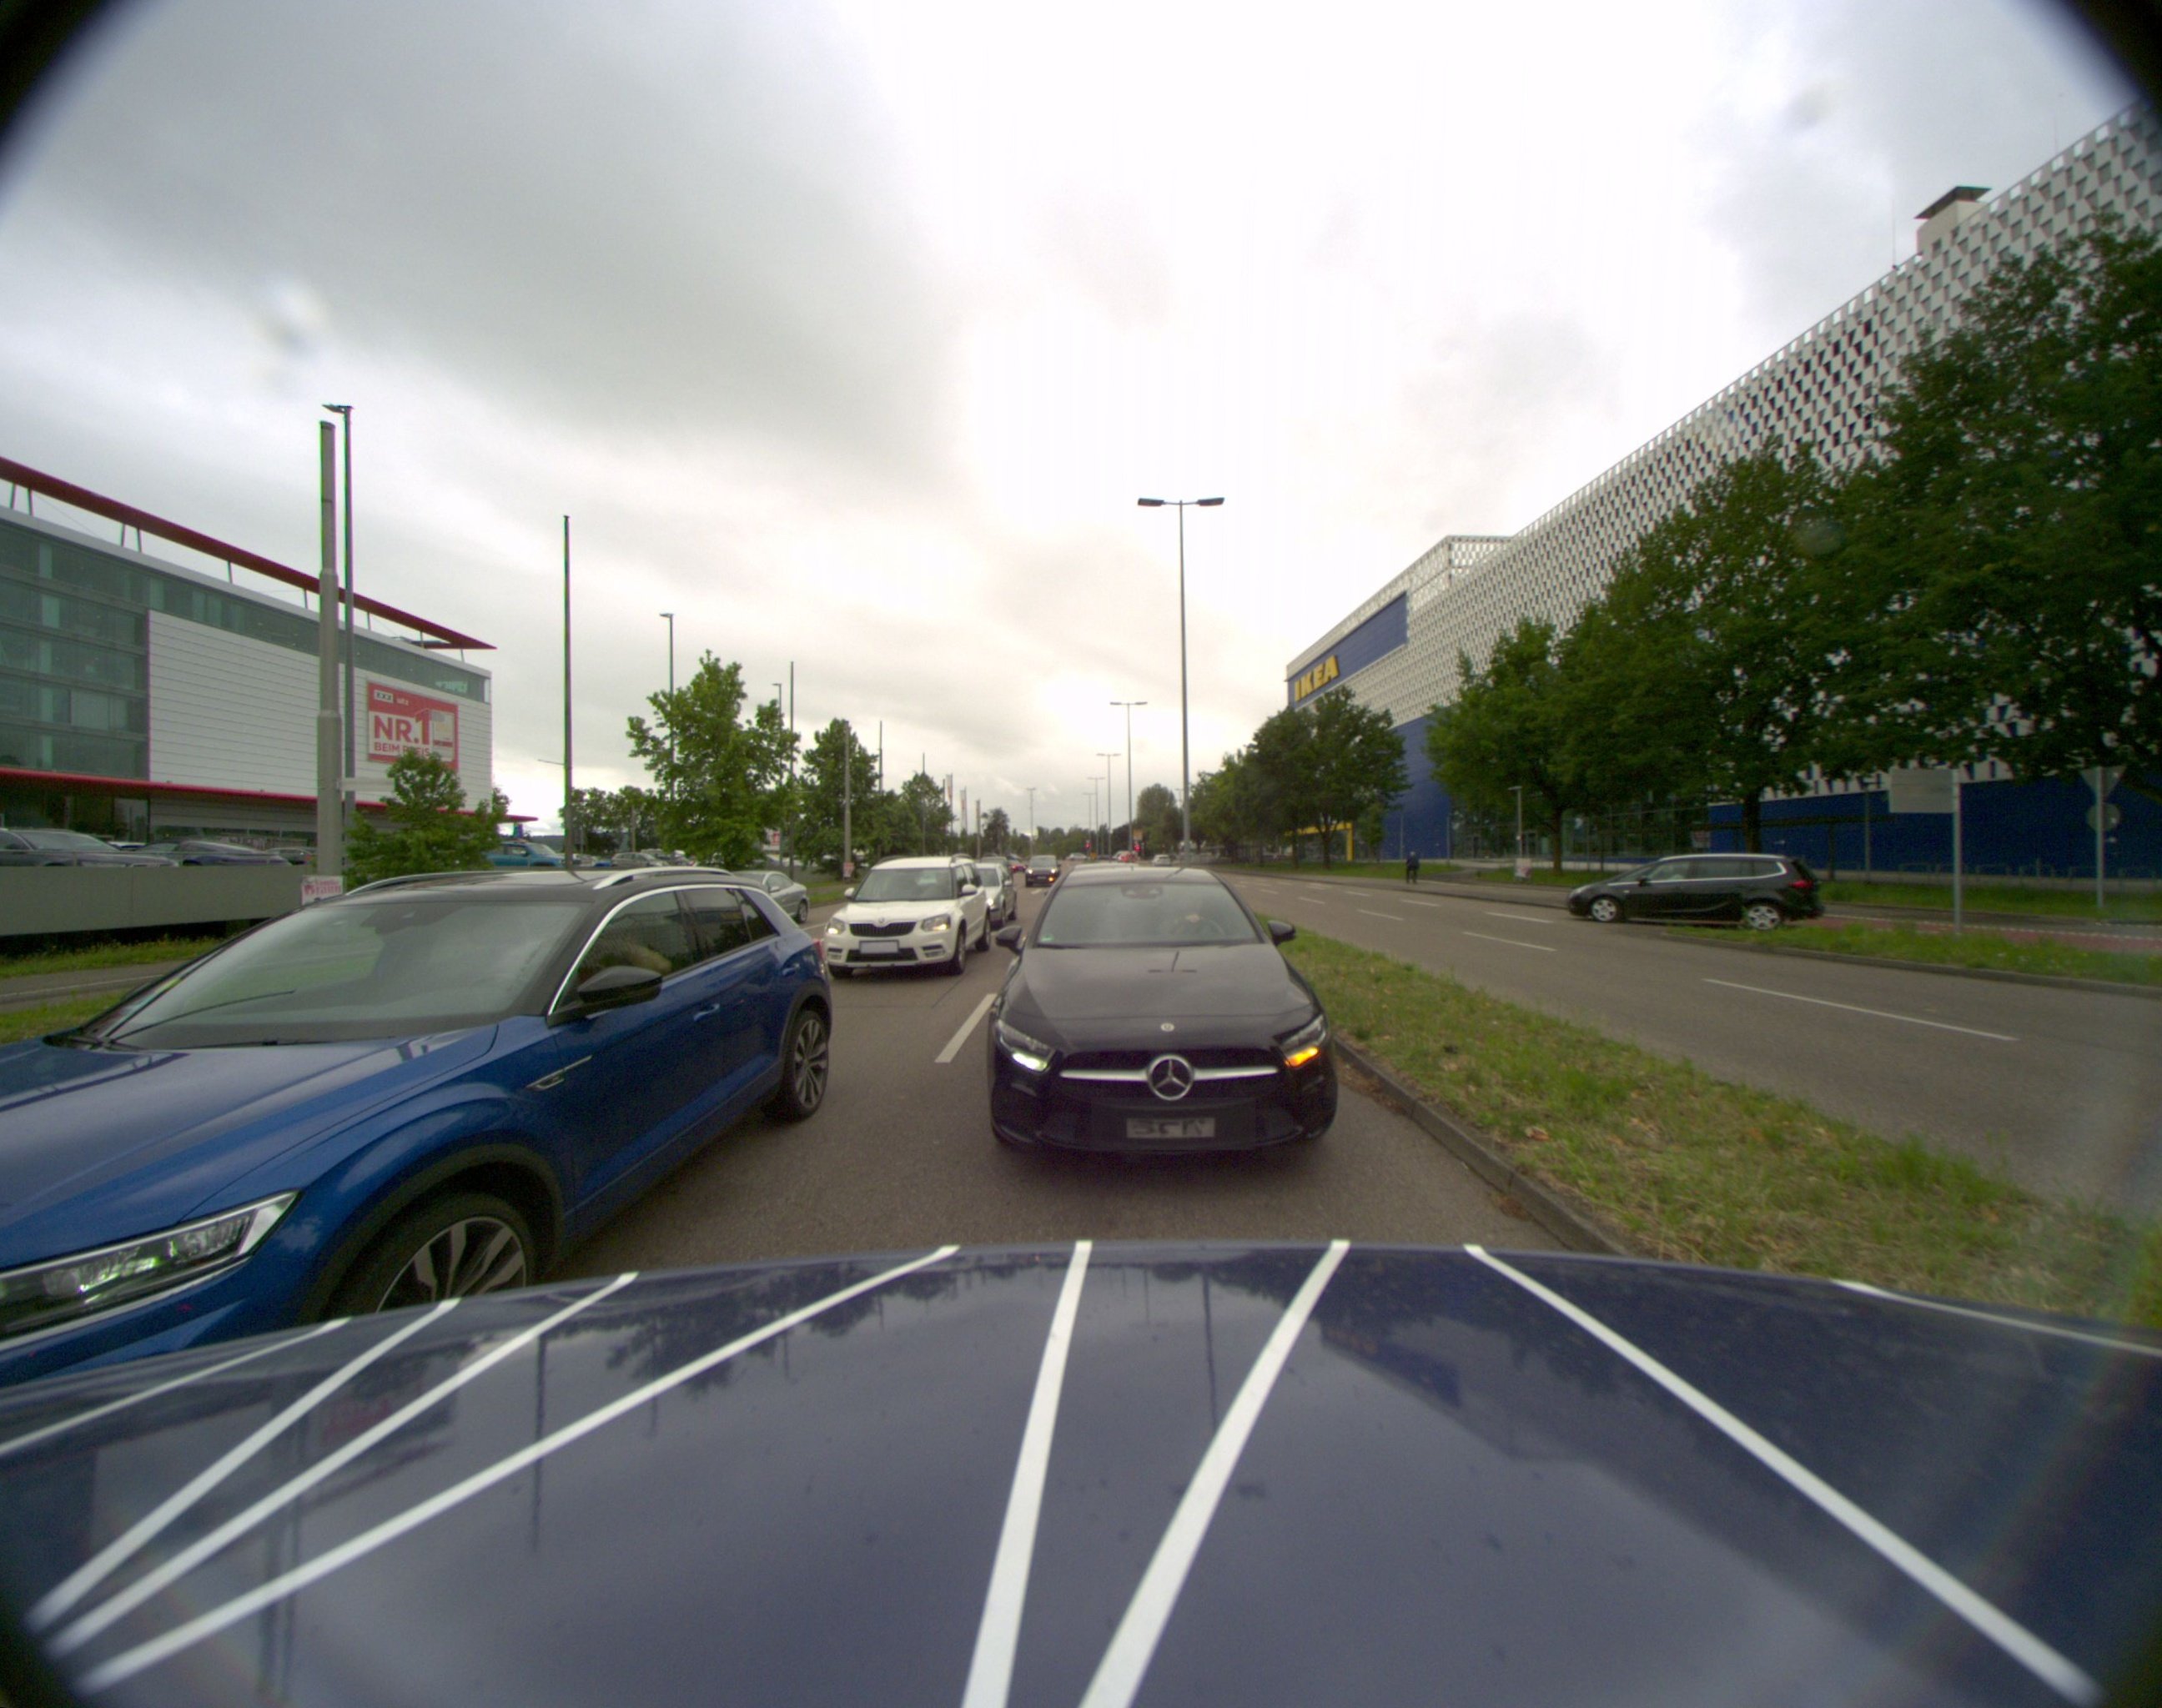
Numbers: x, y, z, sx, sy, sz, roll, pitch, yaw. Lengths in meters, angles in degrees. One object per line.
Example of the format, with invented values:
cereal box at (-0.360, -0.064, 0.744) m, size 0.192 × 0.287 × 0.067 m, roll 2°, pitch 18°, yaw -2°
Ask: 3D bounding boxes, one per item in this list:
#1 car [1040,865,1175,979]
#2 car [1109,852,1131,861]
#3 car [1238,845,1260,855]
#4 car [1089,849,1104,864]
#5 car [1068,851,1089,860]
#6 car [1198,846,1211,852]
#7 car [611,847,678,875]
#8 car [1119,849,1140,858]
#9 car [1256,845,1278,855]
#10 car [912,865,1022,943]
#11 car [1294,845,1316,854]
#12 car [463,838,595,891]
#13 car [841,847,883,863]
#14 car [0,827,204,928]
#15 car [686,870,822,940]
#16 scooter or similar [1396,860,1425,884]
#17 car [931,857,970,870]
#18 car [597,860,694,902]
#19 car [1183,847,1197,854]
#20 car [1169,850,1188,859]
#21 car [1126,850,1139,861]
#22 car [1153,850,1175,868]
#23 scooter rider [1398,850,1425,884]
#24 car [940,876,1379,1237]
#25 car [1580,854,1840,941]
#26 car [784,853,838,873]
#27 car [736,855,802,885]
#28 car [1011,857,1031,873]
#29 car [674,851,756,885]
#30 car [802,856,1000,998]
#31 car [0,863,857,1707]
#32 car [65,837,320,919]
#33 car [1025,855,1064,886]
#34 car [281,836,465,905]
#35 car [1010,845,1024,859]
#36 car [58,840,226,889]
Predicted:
car at (0.388, 0.943, 12.336) m, size 1.767 × 1.370 × 4.258 m, roll -2°, pitch 1°, yaw 1°
car at (9.390, 0.554, 182.549) m, size 5.089 × 2.002 × 1.999 m, roll -2°, pitch 1°, yaw -2°
car at (30.322, -0.669, 137.079) m, size 3.565 × 1.630 × 1.743 m, roll -2°, pitch 1°, yaw -3°
car at (2.375, 0.372, 118.575) m, size 1.999 × 2.206 × 3.999 m, roll 0°, pitch 0°, yaw -2°
car at (-0.476, 0.300, 153.864) m, size 3.999 × 1.786 × 1.999 m, roll 0°, pitch 0°, yaw -6°
car at (38.881, -1.616, 239.188) m, size 3.565 × 1.630 × 1.743 m, roll -2°, pitch 1°, yaw -3°
car at (-33.818, 0.538, 58.948) m, size 3.997 × 2.002 × 1.999 m, roll -2°, pitch 1°, yaw -2°
car at (11.367, -0.187, 179.440) m, size 4.708 × 2.002 × 1.999 m, roll -2°, pitch 1°, yaw -2°
car at (39.112, -0.853, 159.771) m, size 3.999 × 1.805 × 1.998 m, roll -2°, pitch 1°, yaw -7°
car at (-2.492, 1.053, 17.618) m, size 1.801 × 1.407 × 4.218 m, roll -2°, pitch 1°, yaw 1°
car at (47.381, -0.983, 160.603) m, size 3.999 × 1.805 × 1.998 m, roll -2°, pitch 1°, yaw -7°
car at (-23.164, 0.406, 32.005) m, size 3.997 × 2.002 × 1.999 m, roll -2°, pitch 1°, yaw -2°
car at (-24.164, 0.084, 83.974) m, size 3.997 × 1.556 × 1.796 m, roll -2°, pitch 1°, yaw 1°
car at (-22.631, 0.529, 16.532) m, size 4.529 × 2.002 × 1.999 m, roll -2°, pitch 1°, yaw -2°
car at (-7.907, 1.171, 18.788) m, size 1.694 × 1.364 × 3.925 m, roll -2°, pitch 1°, yaw -1°
scooter or similar at (16.994, 0.915, 39.212) m, size 0.590 × 1.119 × 1.423 m, roll -5°, pitch 2°, yaw -16°
car at (-15.282, 1.110, 89.332) m, size 4.216 × 1.407 × 1.802 m, roll -2°, pitch 1°, yaw 0°
car at (-23.370, 1.419, 40.888) m, size 3.997 × 2.002 × 1.999 m, roll -2°, pitch 1°, yaw -2°
car at (34.259, -1.086, 238.936) m, size 4.290 × 1.813 × 1.743 m, roll -2°, pitch 1°, yaw -3°
car at (22.212, 0.070, 172.692) m, size 3.997 × 2.002 × 1.999 m, roll -2°, pitch 1°, yaw -2°
car at (8.549, 0.231, 126.695) m, size 1.847 × 1.709 × 3.924 m, roll -2°, pitch 1°, yaw -1°
car at (9.292, 0.558, 85.452) m, size 1.847 × 1.875 × 3.924 m, roll -2°, pitch 1°, yaw -1°
scooter rider at (17.054, 0.638, 39.206) m, size 0.798 × 1.710 × 1.038 m, roll -2°, pitch 1°, yaw -16°
car at (0.368, 0.947, 5.410) m, size 1.859 × 1.426 × 4.197 m, roll -2°, pitch 0°, yaw 1°
car at (14.152, 0.878, 17.285) m, size 4.348 × 1.646 × 1.852 m, roll 2°, pitch 1°, yaw 44°
car at (-23.623, 0.771, 66.497) m, size 3.997 × 1.556 × 1.796 m, roll -2°, pitch 1°, yaw 1°
car at (-23.243, 1.185, 56.661) m, size 3.997 × 2.002 × 2.000 m, roll -2°, pitch 1°, yaw 0°
car at (-6.733, 1.268, 85.854) m, size 1.801 × 1.564 × 4.221 m, roll -2°, pitch -2°, yaw 1°
car at (-24.041, 0.886, 49.972) m, size 4.324 × 2.002 × 1.999 m, roll -2°, pitch 1°, yaw -2°
car at (-2.445, 0.907, 11.522) m, size 1.798 × 1.615 × 4.374 m, roll -2°, pitch 1°, yaw 1°
car at (-2.579, 0.930, 3.154) m, size 1.846 × 1.612 × 4.332 m, roll -2°, pitch 1°, yaw 1°
car at (-22.646, 0.577, 19.523) m, size 3.998 × 1.838 × 1.999 m, roll -2°, pitch 1°, yaw -2°
car at (-1.959, 0.928, 41.811) m, size 1.801 × 1.564 × 4.220 m, roll -2°, pitch -2°, yaw 1°
car at (-23.005, 0.502, 24.825) m, size 3.997 × 2.002 × 1.999 m, roll -2°, pitch 1°, yaw -2°
car at (-10.197, -0.288, 120.847) m, size 1.999 × 2.229 × 3.999 m, roll 0°, pitch 0°, yaw -2°
car at (-37.476, 0.389, 30.426) m, size 3.998 × 1.729 × 1.999 m, roll -2°, pitch 1°, yaw -2°
